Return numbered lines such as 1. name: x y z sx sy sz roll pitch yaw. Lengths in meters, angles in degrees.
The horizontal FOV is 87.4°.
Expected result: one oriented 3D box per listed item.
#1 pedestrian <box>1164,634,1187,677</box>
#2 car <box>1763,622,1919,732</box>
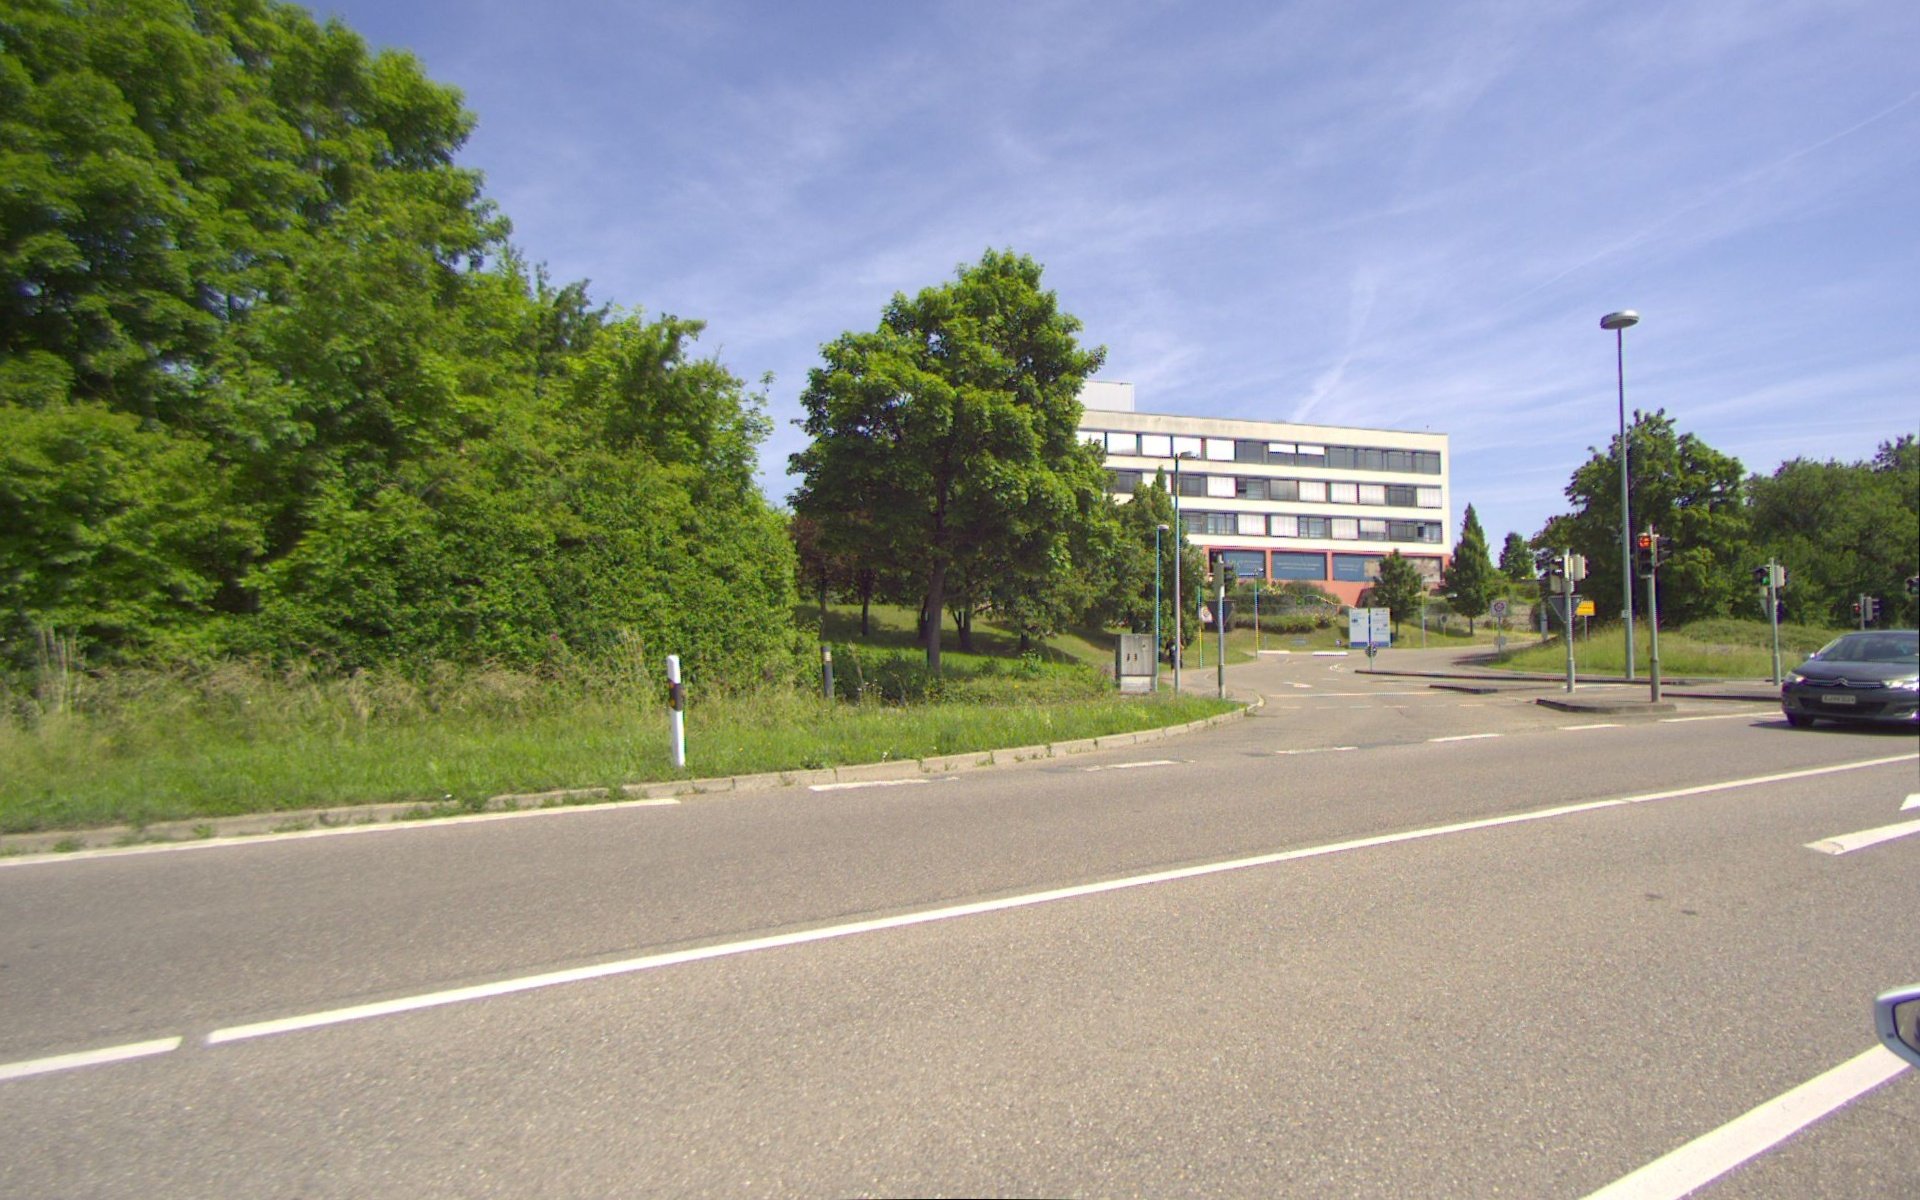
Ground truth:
1. pedestrian: 9.054 2.311 42.237 0.881 1.759 0.923 0 -1 9
2. car: 14.422 1.112 15.522 4.261 1.493 1.782 1 -2 -31
